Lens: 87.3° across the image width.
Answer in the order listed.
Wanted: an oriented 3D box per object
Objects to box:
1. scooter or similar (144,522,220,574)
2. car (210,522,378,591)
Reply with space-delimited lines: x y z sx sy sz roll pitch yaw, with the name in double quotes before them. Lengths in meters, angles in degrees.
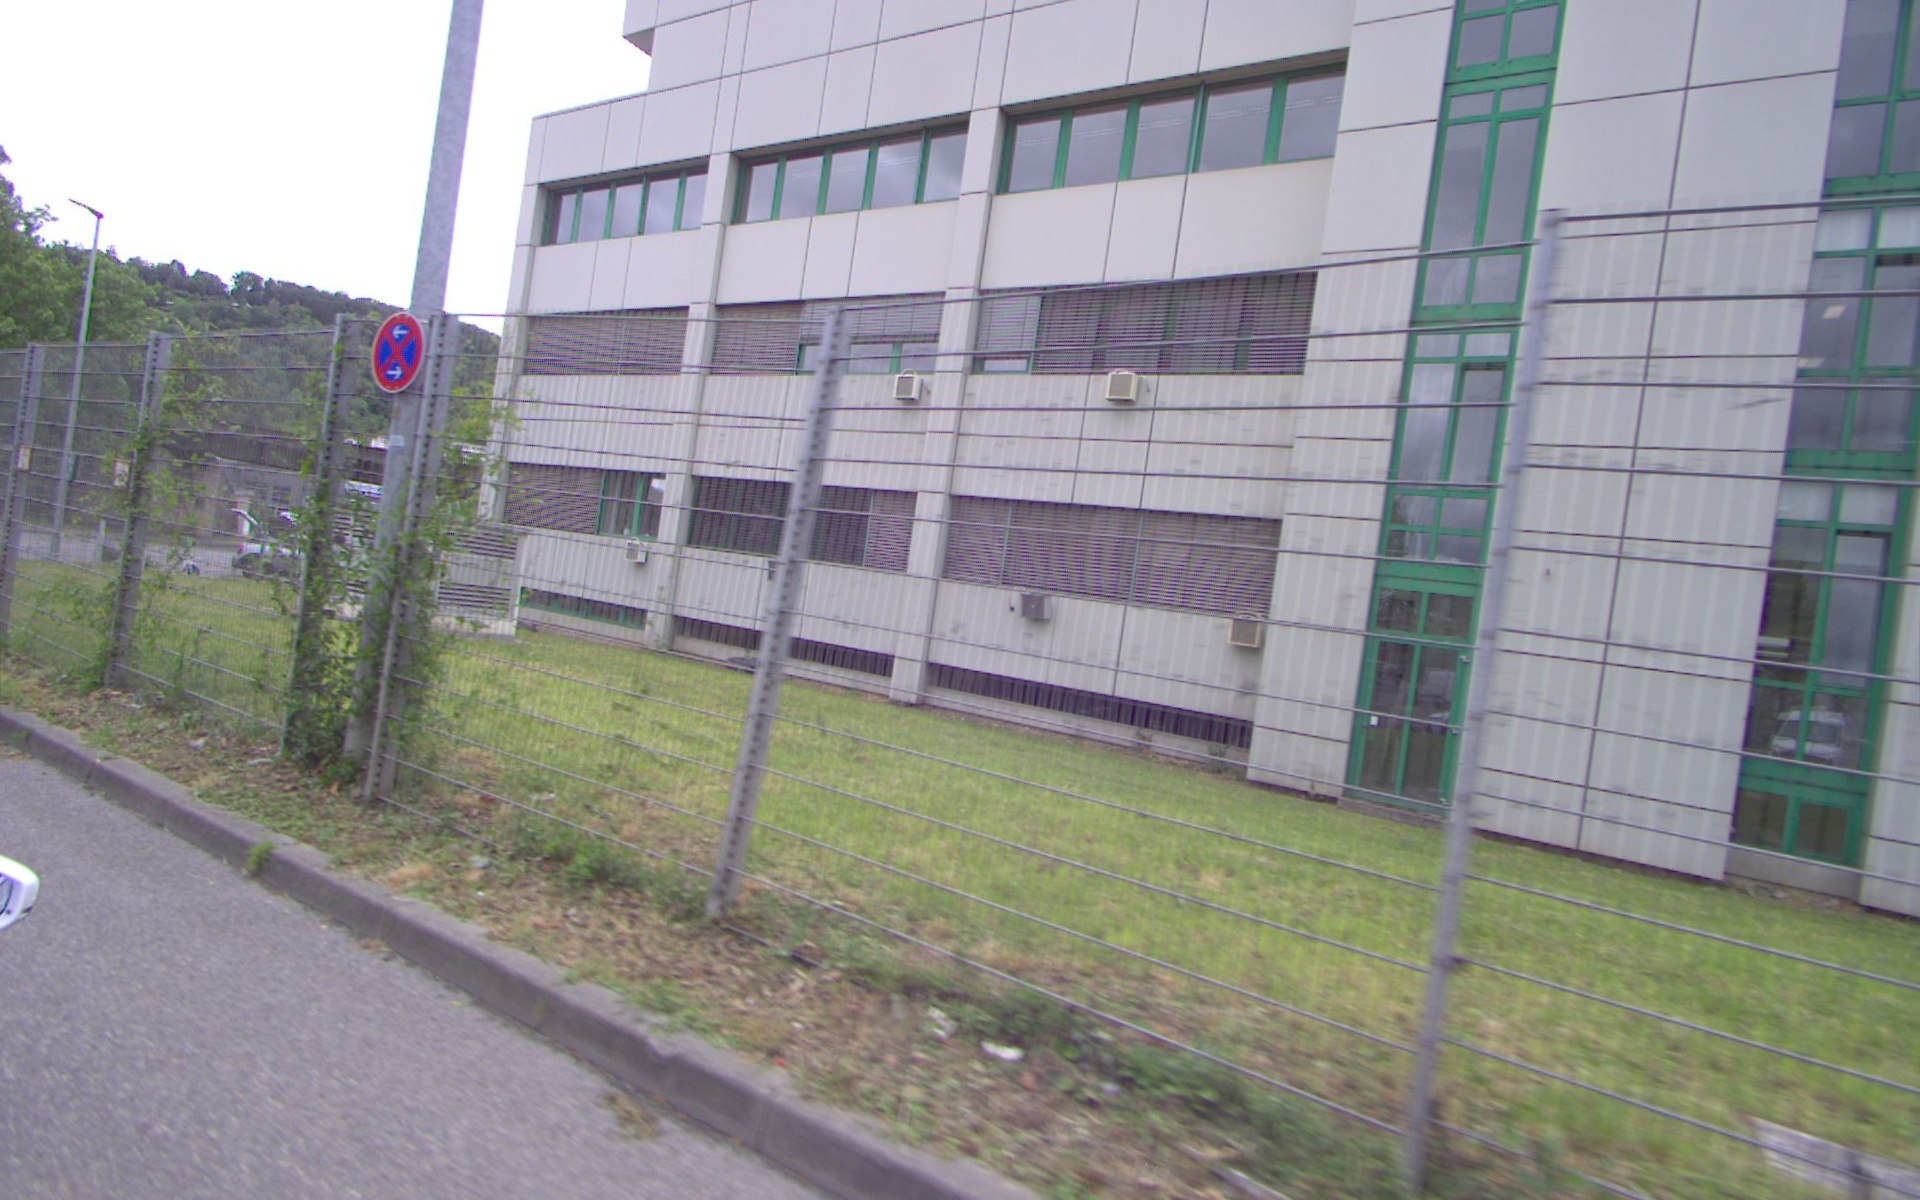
"scooter or similar" -20.120 -1.340 26.037 1.395 1.147 0.480 7 0 -9
"car" -19.856 -1.281 30.139 3.984 1.449 1.769 8 -1 -35
